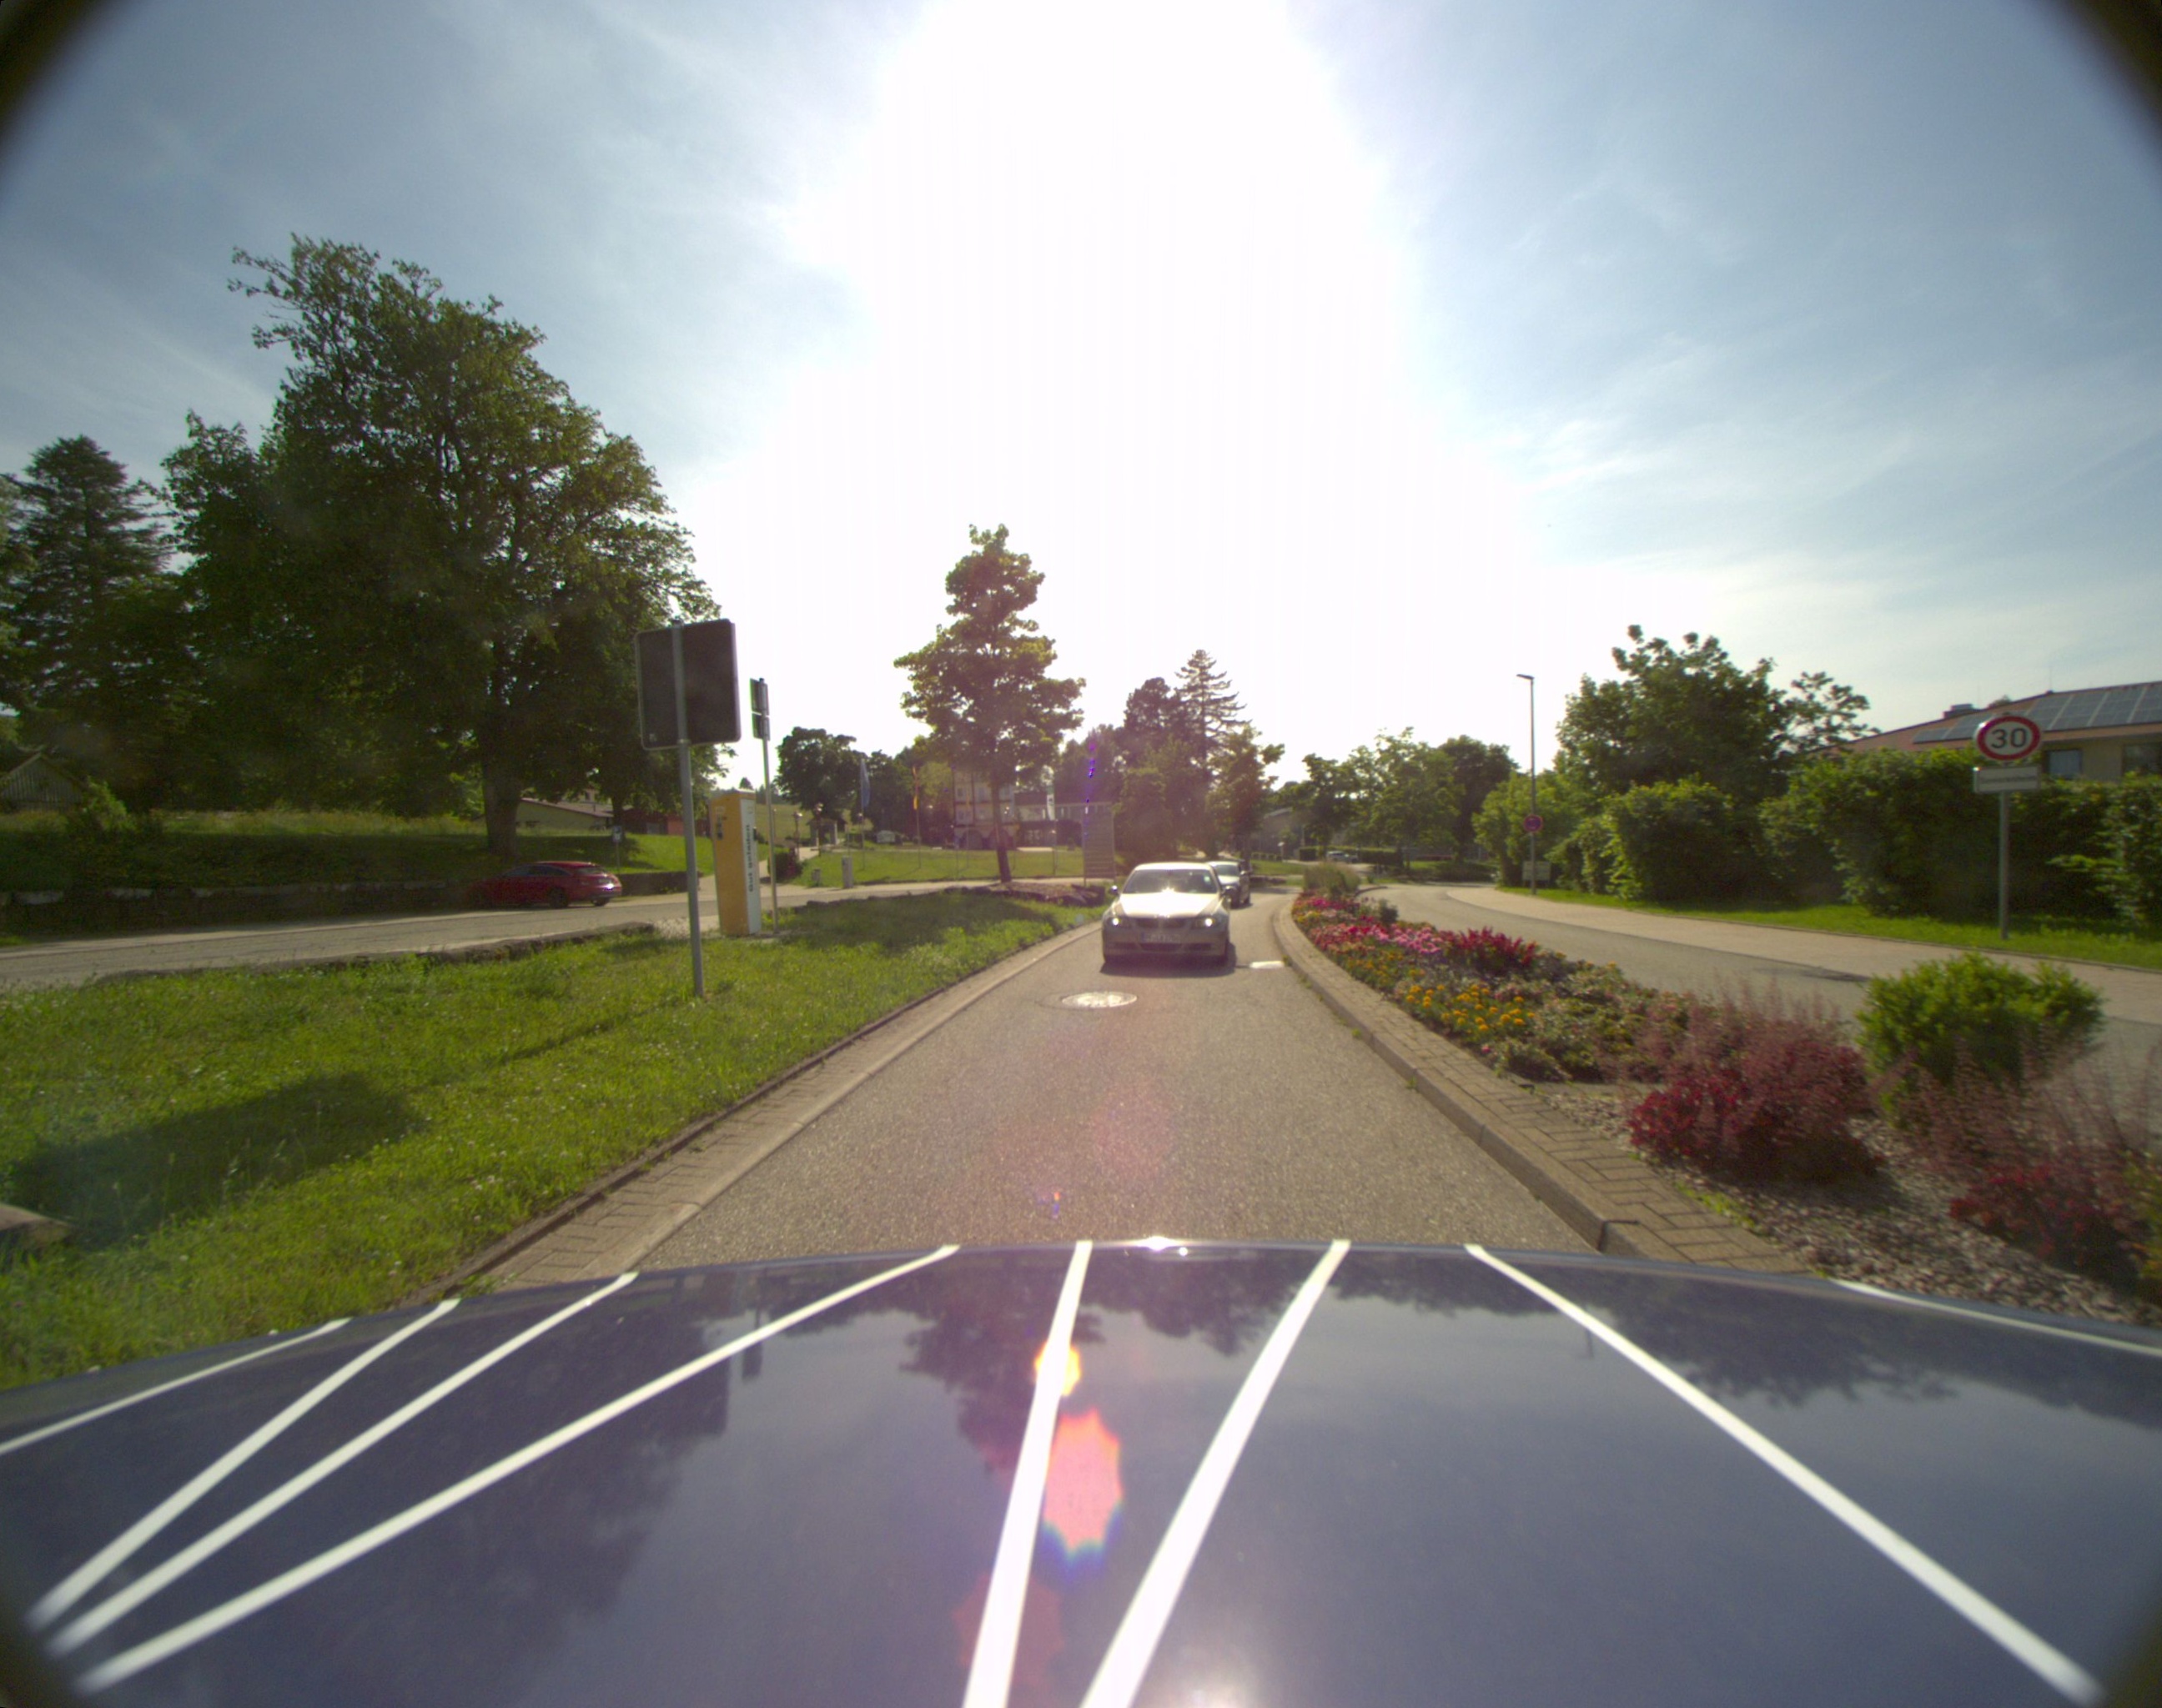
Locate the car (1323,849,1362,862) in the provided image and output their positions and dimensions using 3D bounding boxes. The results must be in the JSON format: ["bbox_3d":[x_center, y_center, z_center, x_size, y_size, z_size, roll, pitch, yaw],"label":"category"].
[{"bbox_3d":[33.499,0.171,97.275,4.369,1.506,1.792,2,1,-9],"label":"car"}]

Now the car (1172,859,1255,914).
[{"bbox_3d":[4.386,0.971,24.604,1.900,1.499,4.006,3,1,20],"label":"car"}]

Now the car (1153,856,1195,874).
[{"bbox_3d":[8.063,0.961,65.996,1.718,1.396,3.302,0,3,-42],"label":"car"}]

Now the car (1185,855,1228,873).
[{"bbox_3d":[11.196,0.916,67.764,1.689,1.419,3.529,1,2,-37],"label":"car"}]

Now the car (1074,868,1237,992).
[{"bbox_3d":[1.345,0.961,11.574,1.836,1.360,4.586,1,1,13],"label":"car"}]

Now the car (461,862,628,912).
[{"bbox_3d":[-16.620,0.984,23.619,4.260,1.420,1.703,0,1,10],"label":"car"}]

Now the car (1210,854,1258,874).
[{"bbox_3d":[14.238,0.900,70.849,2.004,1.609,3.988,1,2,-37],"label":"car"}]
